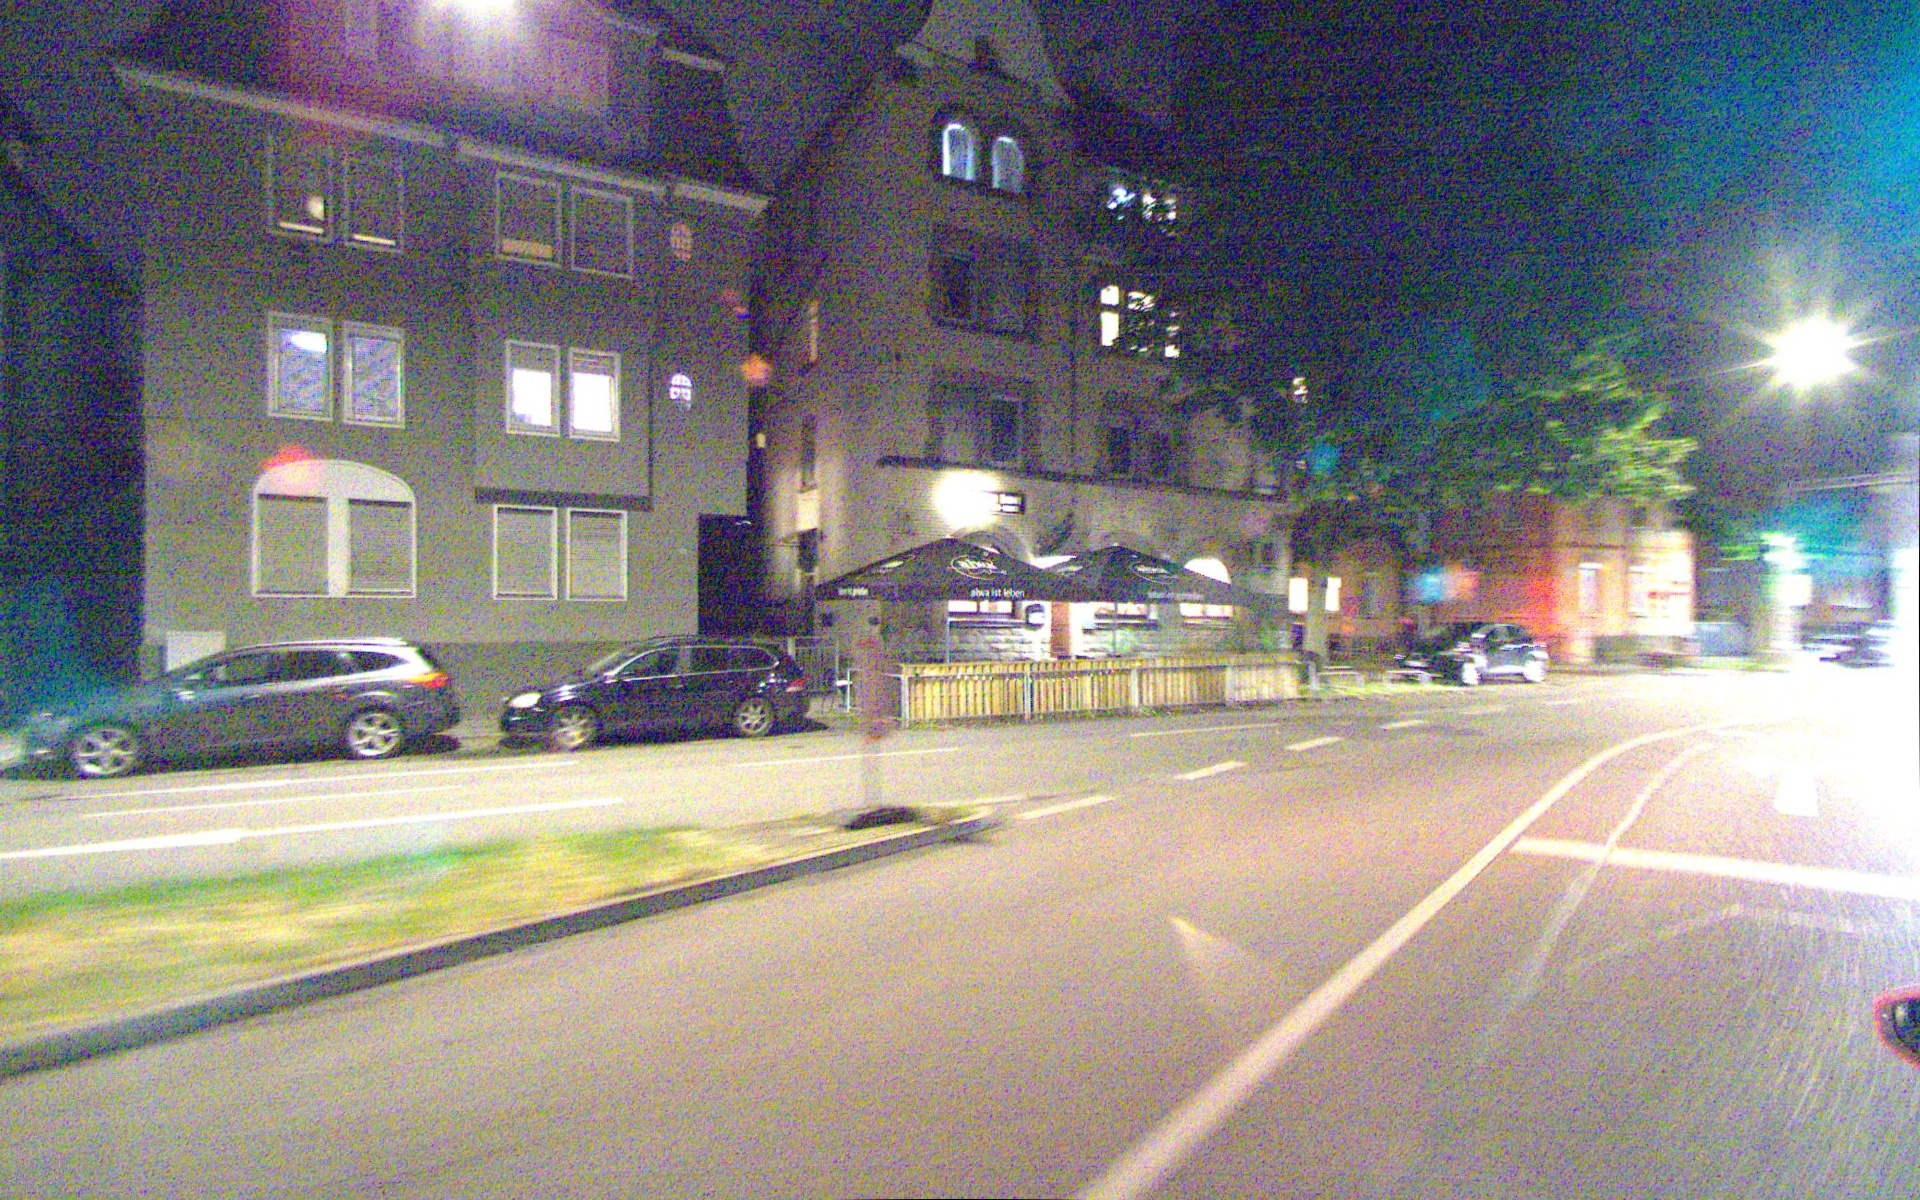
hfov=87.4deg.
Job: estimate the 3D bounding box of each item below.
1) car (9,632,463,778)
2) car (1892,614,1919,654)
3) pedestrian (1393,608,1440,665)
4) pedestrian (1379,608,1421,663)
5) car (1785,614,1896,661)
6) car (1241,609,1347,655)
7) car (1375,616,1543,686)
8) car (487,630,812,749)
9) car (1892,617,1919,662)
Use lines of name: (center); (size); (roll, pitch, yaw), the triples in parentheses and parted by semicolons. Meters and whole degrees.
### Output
car: (-8.816, 1.202, 12.789); (4.417, 1.499, 1.853); (0, 0, -29)
car: (39.329, 1.334, 40.054); (4.273, 1.511, 1.778); (0, 2, -27)
pedestrian: (14.105, 1.125, 31.039); (1.106, 1.713, 0.709); (0, -1, -18)
pedestrian: (14.044, 1.129, 32.076); (0.982, 1.713, 0.709); (0, -1, -18)
car: (31.290, 1.308, 35.697); (3.648, 1.511, 1.588); (0, 2, -24)
car: (13.770, 1.310, 41.654); (1.878, 1.799, 3.969); (0, -1, -29)
car: (12.764, 1.240, 25.697); (3.972, 1.618, 1.879); (0, 1, -27)
car: (-4.606, 1.229, 15.040); (4.388, 1.453, 1.853); (0, 0, -29)
car: (32.712, 1.269, 33.123); (3.950, 1.448, 1.709); (0, -2, -28)
